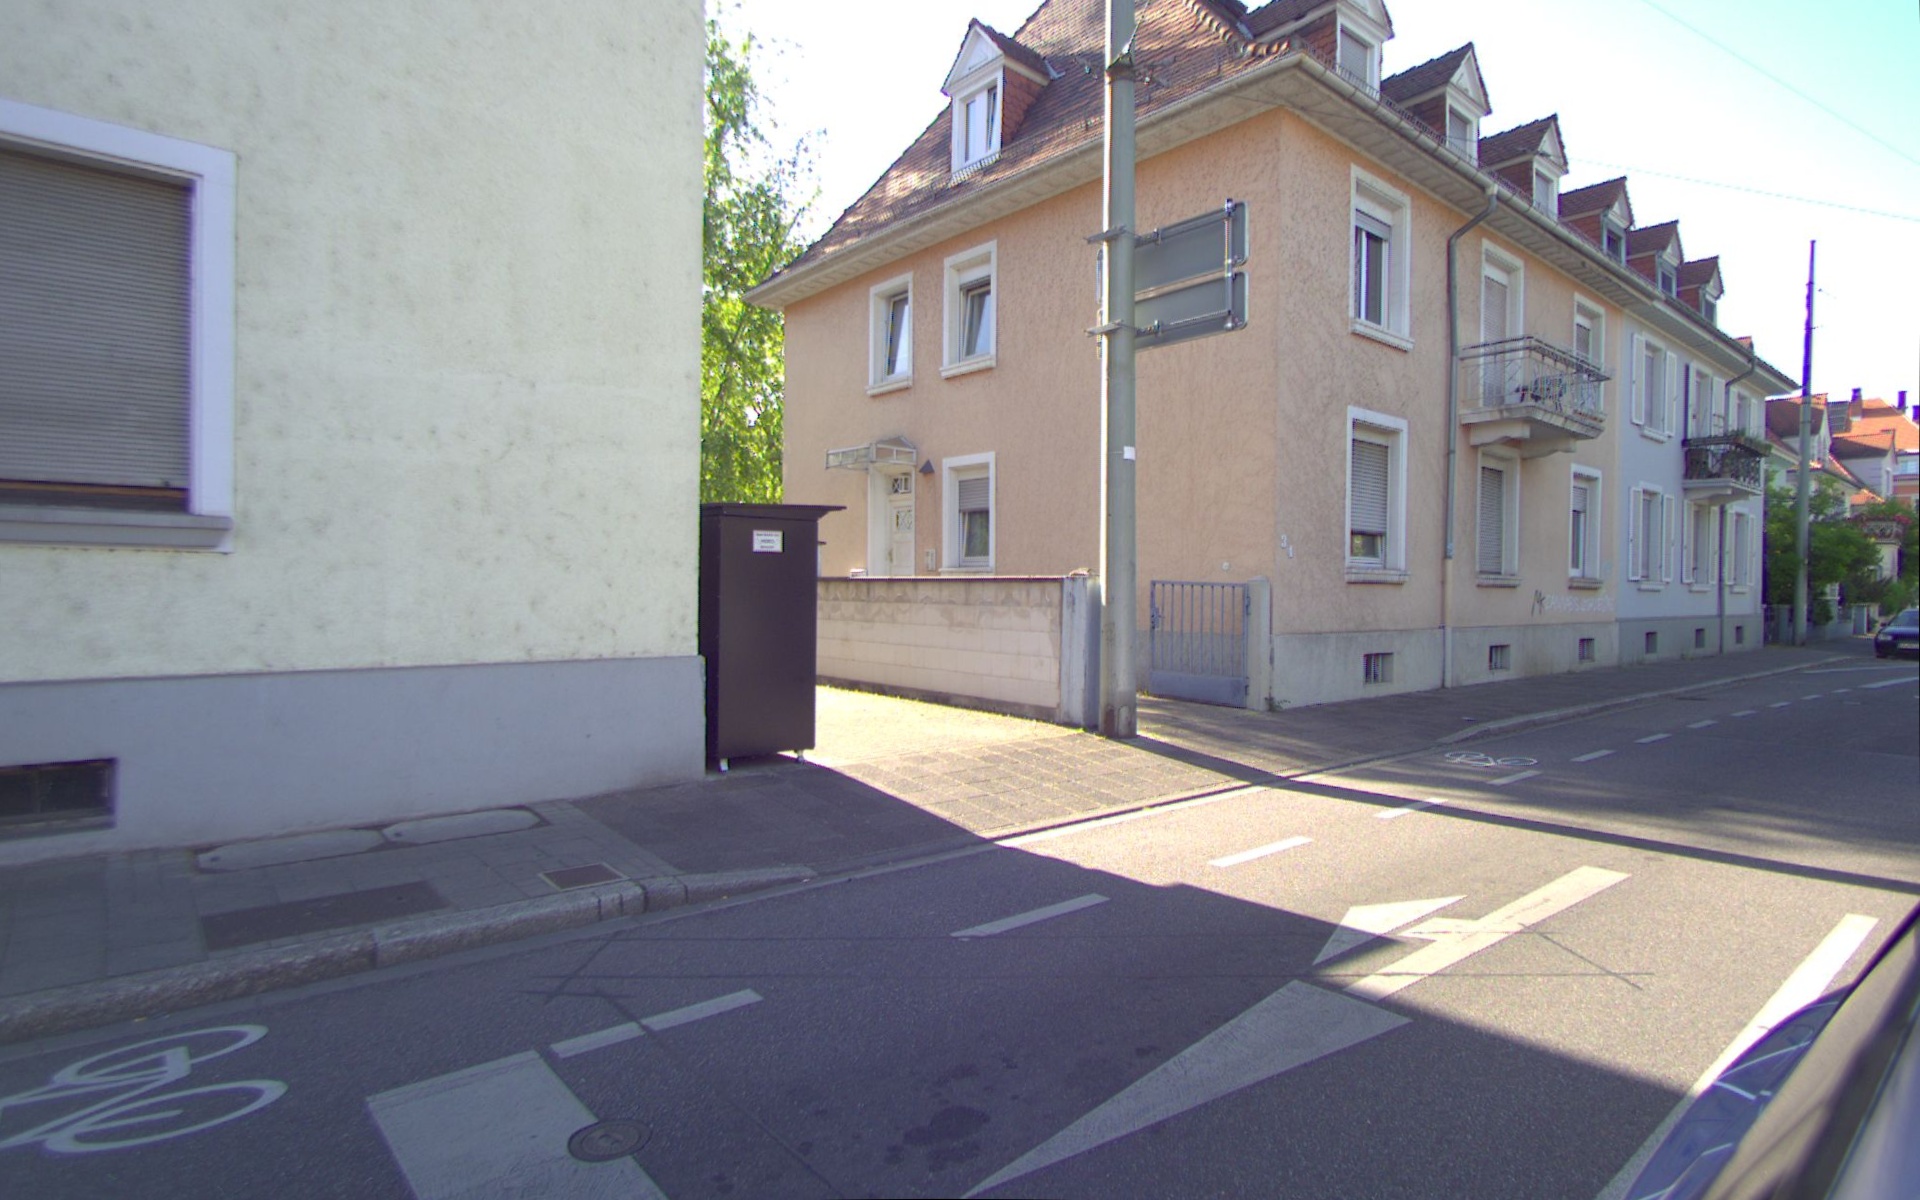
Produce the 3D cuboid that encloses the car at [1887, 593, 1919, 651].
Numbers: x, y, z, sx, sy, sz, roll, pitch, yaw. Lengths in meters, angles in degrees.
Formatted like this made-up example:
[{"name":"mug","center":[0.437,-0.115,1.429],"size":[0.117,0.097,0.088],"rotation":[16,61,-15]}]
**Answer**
[{"name":"car","center":[26.827,0.590,27.367],"size":[3.925,1.504,1.883],"rotation":[0,1,-37]}]
